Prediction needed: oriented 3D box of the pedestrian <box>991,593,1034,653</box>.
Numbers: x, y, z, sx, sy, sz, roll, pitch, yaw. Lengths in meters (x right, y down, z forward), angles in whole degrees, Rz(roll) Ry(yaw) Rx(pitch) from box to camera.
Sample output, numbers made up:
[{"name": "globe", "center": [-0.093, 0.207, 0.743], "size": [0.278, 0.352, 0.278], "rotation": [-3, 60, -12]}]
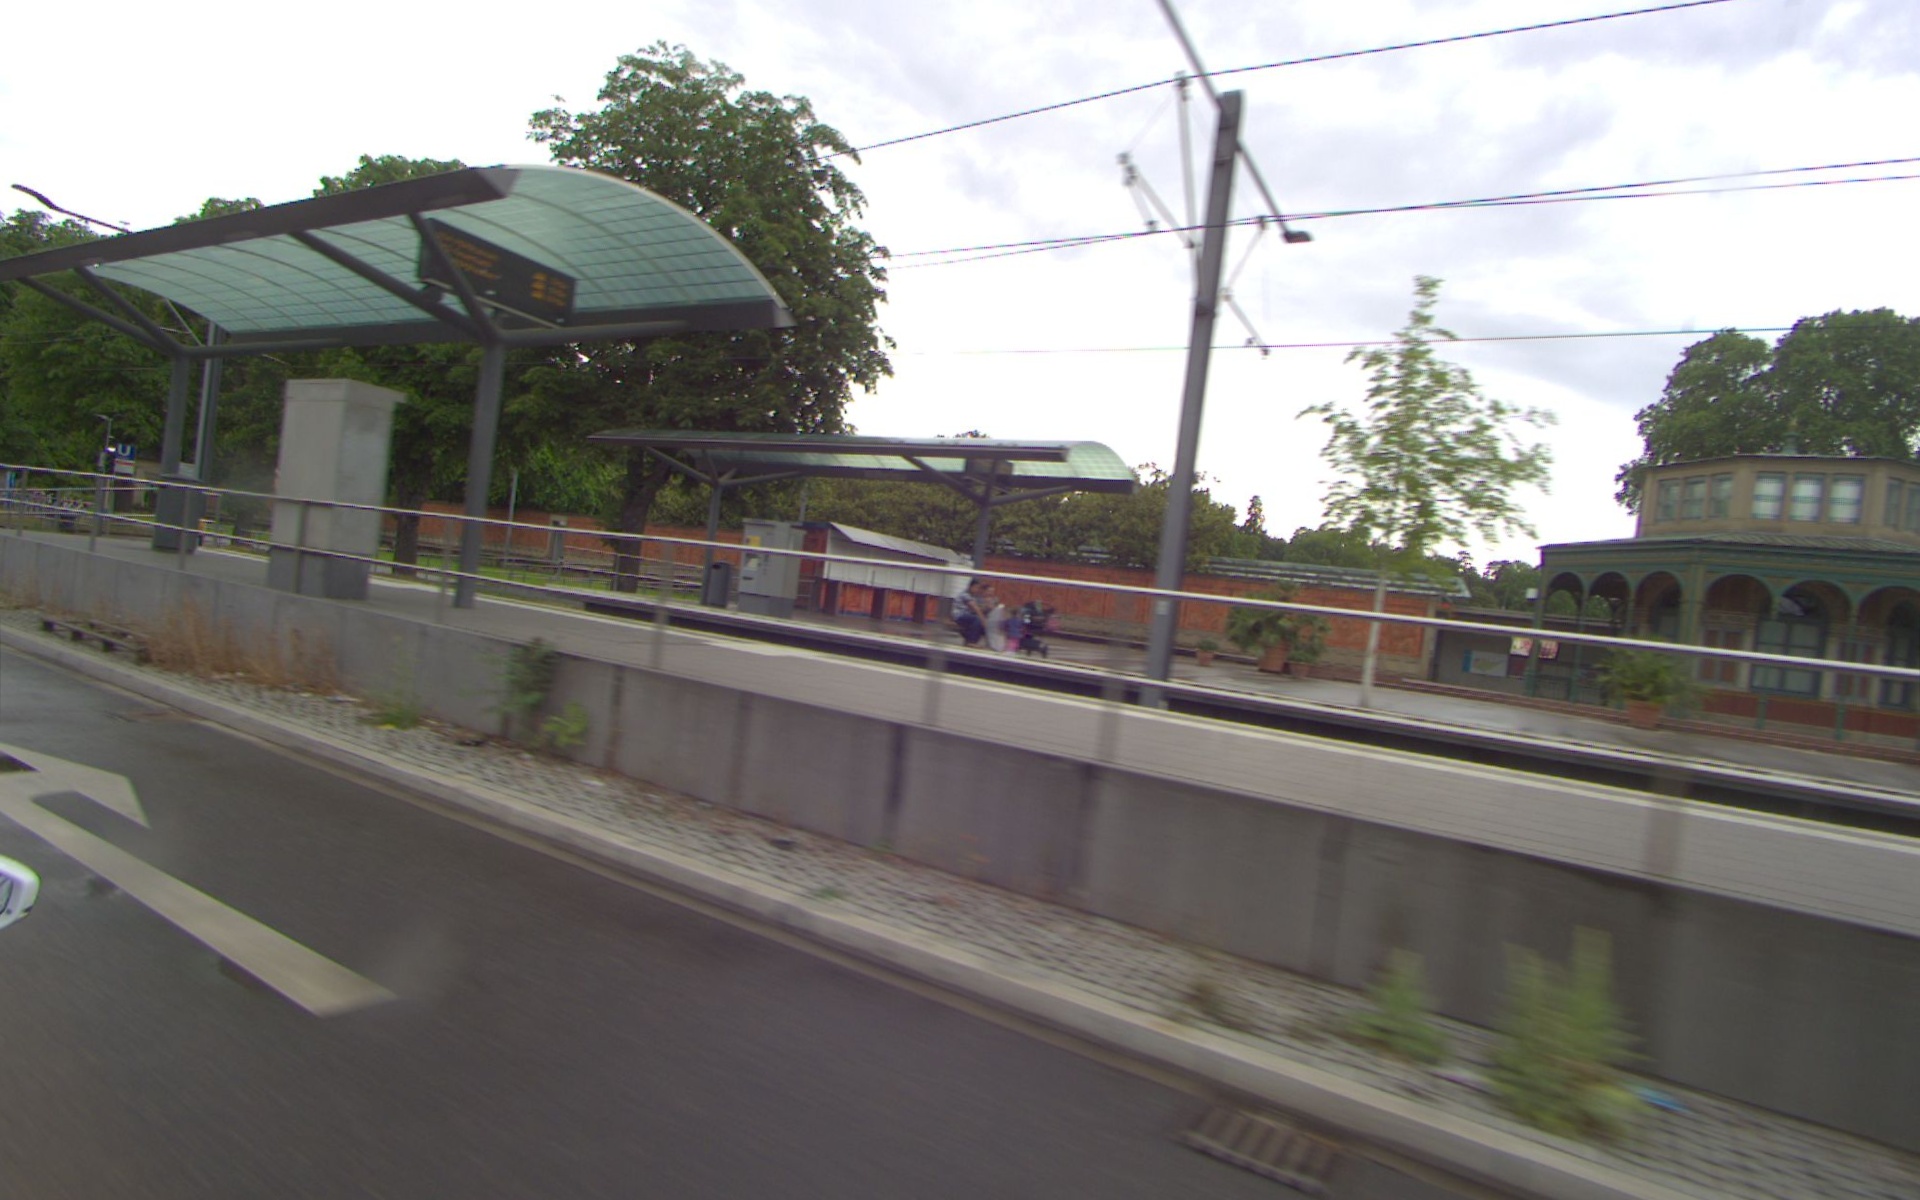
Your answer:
[{"name": "pedestrian", "center": [0.953, 0.417, 18.315], "size": [0.542, 1.021, 0.437], "rotation": [7, 1, 32]}]

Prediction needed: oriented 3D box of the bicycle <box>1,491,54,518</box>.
[{"name": "bicycle", "center": [-47.239, -4.826, 50.995], "size": [0.641, 1.045, 1.813], "rotation": [8, 1, 29]}]

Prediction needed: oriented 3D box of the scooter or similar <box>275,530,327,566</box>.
[{"name": "scooter or similar", "center": [-24.599, -1.931, 37.567], "size": [0.424, 1.151, 1.545], "rotation": [8, 1, 29]}]

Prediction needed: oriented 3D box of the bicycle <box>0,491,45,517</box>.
[{"name": "bicycle", "center": [-47.917, -4.909, 51.178], "size": [0.641, 1.045, 1.837], "rotation": [8, 1, 29]}]

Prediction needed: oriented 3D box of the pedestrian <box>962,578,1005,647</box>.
[{"name": "pedestrian", "center": [0.443, 0.246, 19.170], "size": [0.542, 1.241, 0.437], "rotation": [7, 2, 32]}]

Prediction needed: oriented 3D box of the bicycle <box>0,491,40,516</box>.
[{"name": "bicycle", "center": [-48.461, -4.976, 51.535], "size": [0.641, 1.045, 1.813], "rotation": [8, 1, 29]}]

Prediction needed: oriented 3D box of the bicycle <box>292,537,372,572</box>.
[{"name": "bicycle", "center": [-22.056, -1.584, 35.395], "size": [0.560, 0.969, 2.325], "rotation": [7, 1, 29]}]

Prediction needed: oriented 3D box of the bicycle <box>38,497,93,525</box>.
[{"name": "bicycle", "center": [-43.214, -4.299, 48.639], "size": [0.641, 1.045, 1.813], "rotation": [8, 1, 29]}]

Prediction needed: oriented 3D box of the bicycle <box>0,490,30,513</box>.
[{"name": "bicycle", "center": [-49.914, -5.194, 52.509], "size": [0.641, 1.045, 1.813], "rotation": [8, 1, 29]}]

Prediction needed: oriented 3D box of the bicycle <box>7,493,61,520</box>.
[{"name": "bicycle", "center": [-46.064, -4.669, 50.070], "size": [0.641, 1.047, 1.813], "rotation": [8, 1, 29]}]

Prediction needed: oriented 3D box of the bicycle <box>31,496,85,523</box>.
[{"name": "bicycle", "center": [-43.952, -4.391, 49.048], "size": [0.641, 1.045, 1.813], "rotation": [8, 1, 29]}]

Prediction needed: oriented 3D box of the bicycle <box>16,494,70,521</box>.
[{"name": "bicycle", "center": [-45.401, -4.563, 49.802], "size": [0.641, 1.045, 1.813], "rotation": [8, 1, 29]}]

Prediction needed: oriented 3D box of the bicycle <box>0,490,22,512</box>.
[{"name": "bicycle", "center": [-50.679, -5.277, 52.912], "size": [0.641, 1.045, 1.813], "rotation": [8, 1, 29]}]

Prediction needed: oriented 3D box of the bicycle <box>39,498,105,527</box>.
[{"name": "bicycle", "center": [-42.472, -4.187, 48.153], "size": [0.677, 1.045, 2.226], "rotation": [8, 1, 29]}]

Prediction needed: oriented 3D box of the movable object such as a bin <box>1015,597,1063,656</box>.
[{"name": "movable object such as a bin", "center": [1.485, 0.495, 18.980], "size": [0.670, 1.021, 0.437], "rotation": [7, 1, 32]}]

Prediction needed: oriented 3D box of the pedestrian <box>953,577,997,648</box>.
[{"name": "pedestrian", "center": [0.277, 0.238, 18.663], "size": [0.542, 1.241, 0.437], "rotation": [7, 2, 32]}]

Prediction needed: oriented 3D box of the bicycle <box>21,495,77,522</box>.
[{"name": "bicycle", "center": [-44.727, -4.488, 49.404], "size": [0.641, 1.045, 1.850], "rotation": [8, 1, 29]}]

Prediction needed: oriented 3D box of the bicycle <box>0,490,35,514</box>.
[{"name": "bicycle", "center": [-49.191, -5.091, 52.032], "size": [0.641, 1.045, 1.813], "rotation": [8, 1, 29]}]
